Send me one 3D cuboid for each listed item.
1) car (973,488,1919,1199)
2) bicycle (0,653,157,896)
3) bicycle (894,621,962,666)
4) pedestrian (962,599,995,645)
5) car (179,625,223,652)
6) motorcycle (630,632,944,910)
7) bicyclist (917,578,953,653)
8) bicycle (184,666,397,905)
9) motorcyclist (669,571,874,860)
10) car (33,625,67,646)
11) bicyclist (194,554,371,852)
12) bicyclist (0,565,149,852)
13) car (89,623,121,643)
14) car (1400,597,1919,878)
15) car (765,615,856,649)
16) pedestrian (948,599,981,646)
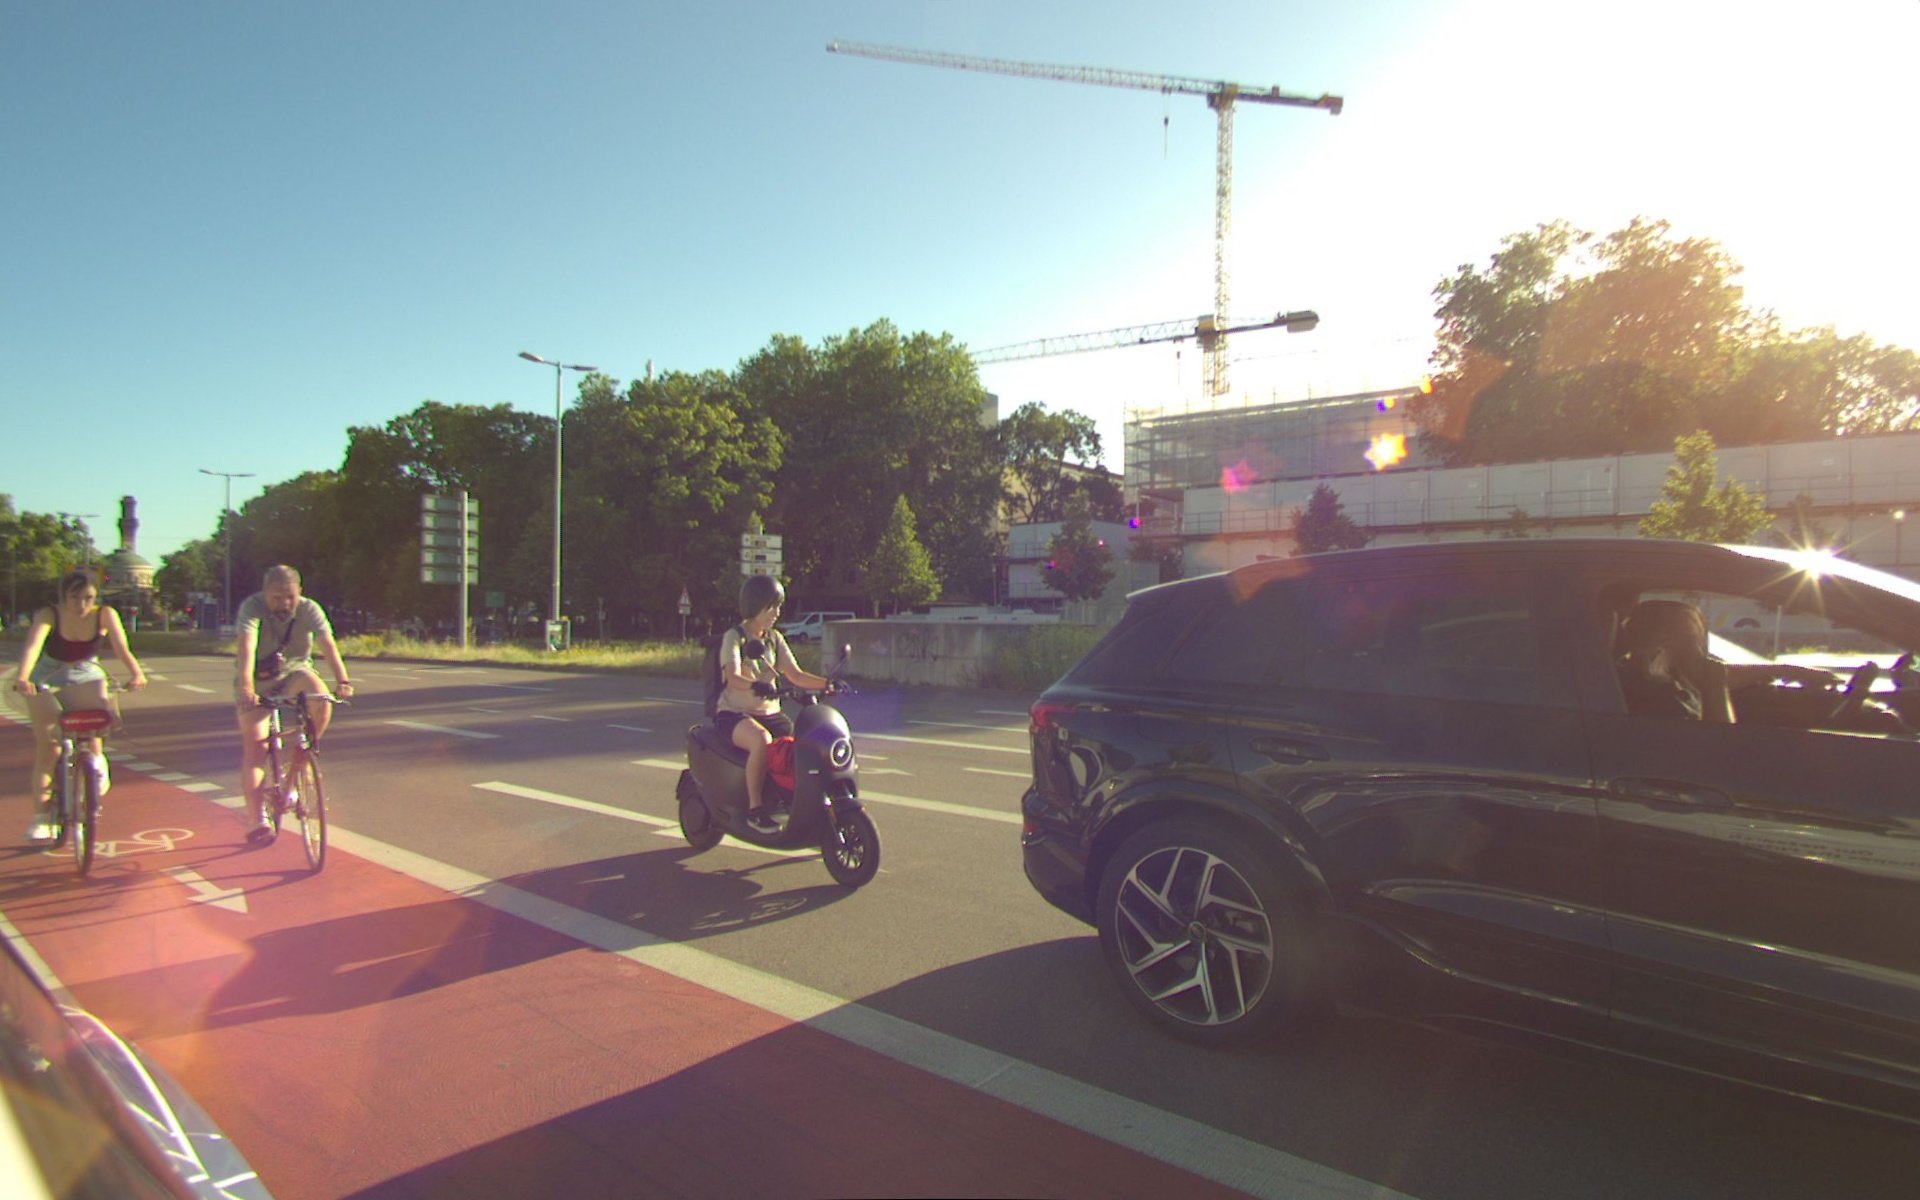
[{"bbox_3d":[2.413,0.580,3.030,4.677,1.647,1.753,-1,0,40],"label":"car"},{"bbox_3d":[-5.484,0.968,6.223,1.832,1.227,0.609,-2,-1,44],"label":"bicycle"},{"bbox_3d":[-1.385,1.855,43.051,3.079,1.824,0.831,-3,-1,40],"label":"bicycle"},{"bbox_3d":[0.824,0.989,45.395,1.135,2.029,0.930,-1,0,35],"label":"pedestrian"},{"bbox_3d":[-56.097,2.824,74.758,3.998,1.841,1.796,-1,0,41],"label":"car"},{"bbox_3d":[-1.035,0.846,5.733,1.883,1.303,0.715,-2,-1,41],"label":"motorcycle"},{"bbox_3d":[-1.060,0.647,42.773,1.305,3.126,0.831,-1,0,39],"label":"bicyclist"},{"bbox_3d":[-4.046,0.999,6.043,1.971,1.118,0.640,-2,-1,44],"label":"bicycle"},{"bbox_3d":[-1.081,0.600,5.774,0.917,1.485,0.717,-2,-1,41],"label":"motorcyclist"},{"bbox_3d":[-81.475,3.165,90.582,3.998,1.699,1.826,-1,0,41],"label":"car"},{"bbox_3d":[-4.060,0.564,6.056,0.842,1.618,0.708,-2,-1,44],"label":"bicyclist"},{"bbox_3d":[-5.410,0.604,6.146,0.875,1.591,0.634,-2,-1,44],"label":"bicyclist"},{"bbox_3d":[-79.870,3.039,94.538,3.945,1.802,1.725,-1,0,41],"label":"car"},{"bbox_3d":[4.972,0.758,6.549,3.603,1.497,1.477,-2,-1,41],"label":"car"},{"bbox_3d":[-9.062,1.927,61.849,2.065,1.950,5.443,-1,-2,42],"label":"car"},{"bbox_3d":[0.208,0.962,44.552,1.135,2.029,0.930,-1,0,35],"label":"pedestrian"}]
